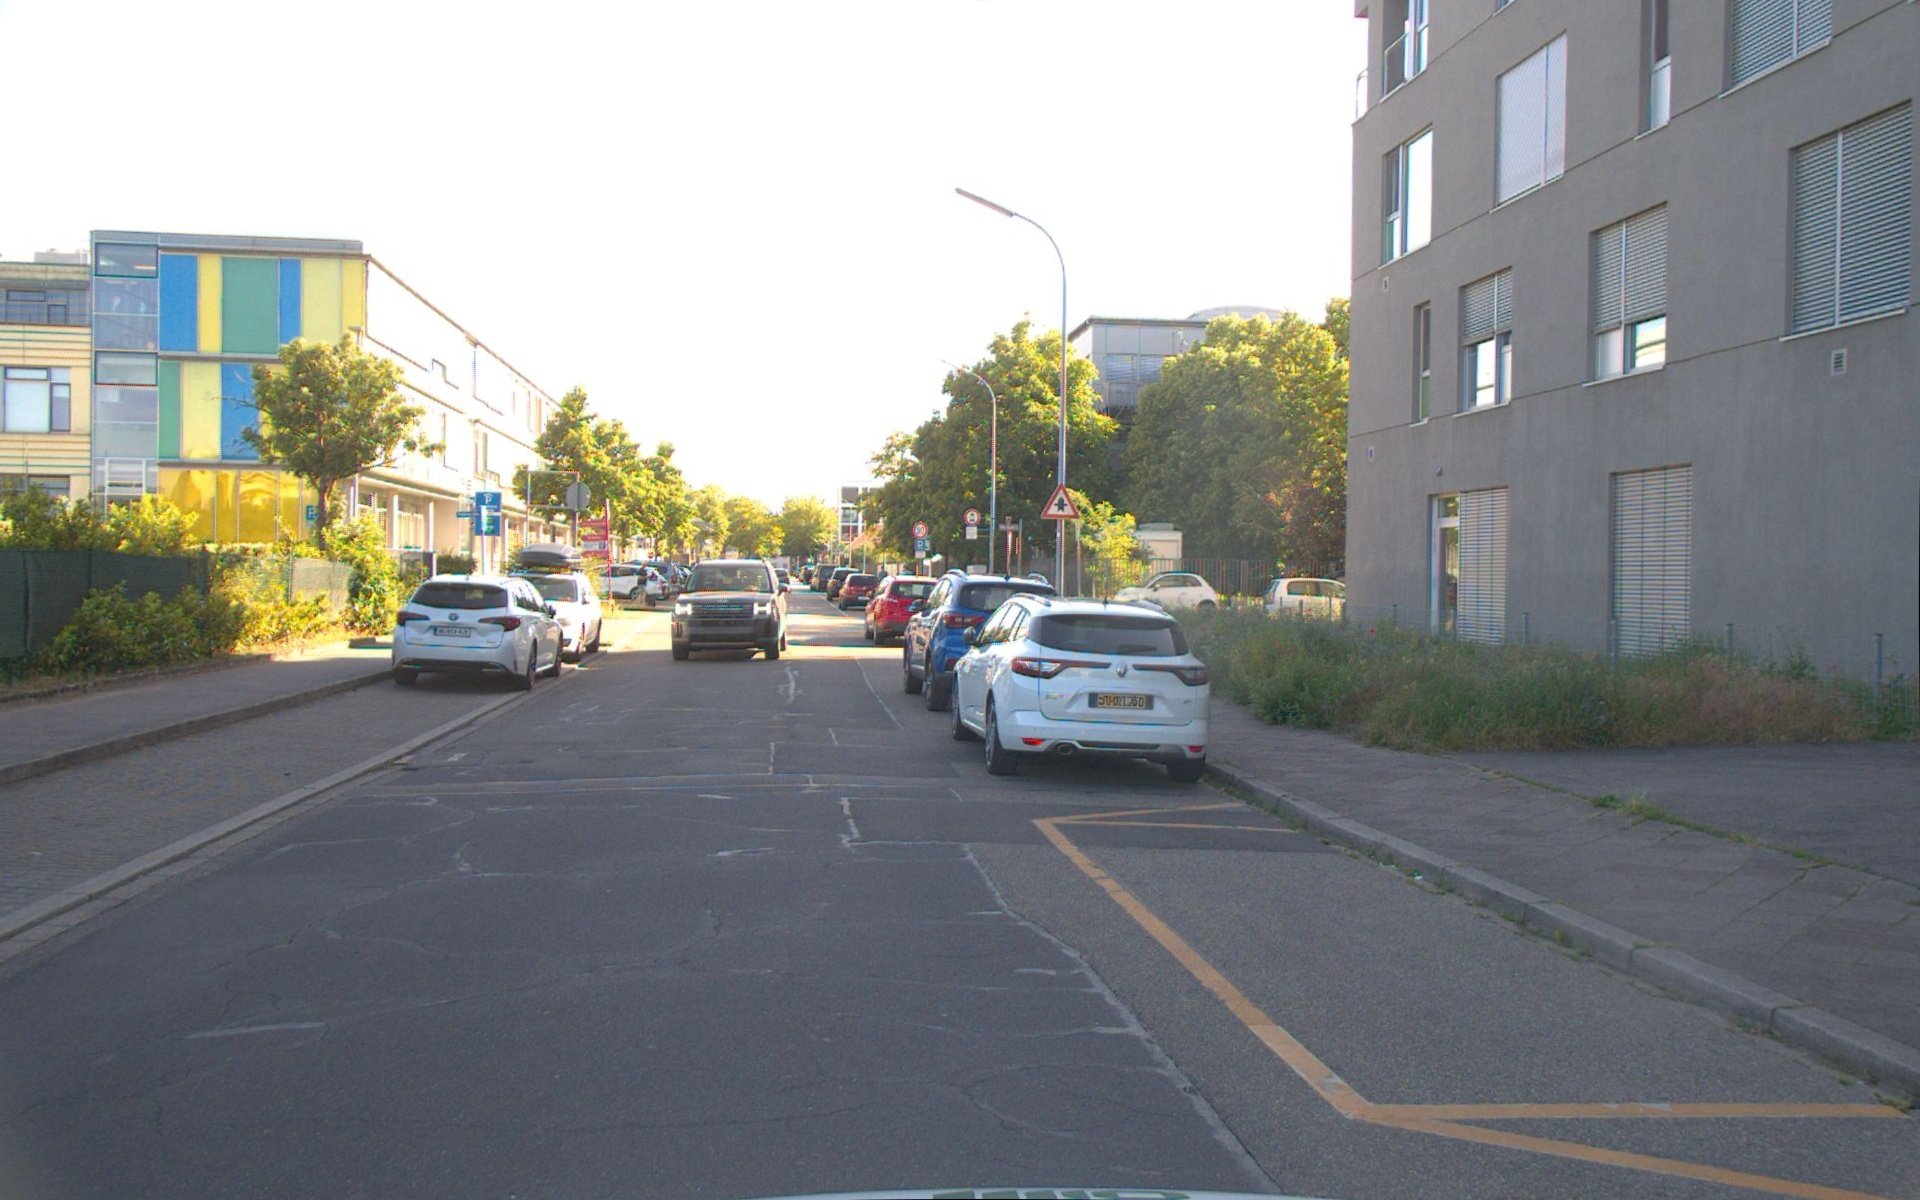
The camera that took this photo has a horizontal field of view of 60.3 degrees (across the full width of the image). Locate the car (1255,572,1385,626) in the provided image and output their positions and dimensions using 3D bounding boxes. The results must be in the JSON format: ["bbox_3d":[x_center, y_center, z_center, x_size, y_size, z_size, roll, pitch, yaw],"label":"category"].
[{"bbox_3d":[10.085,-0.041,46.478,3.259,1.483,1.714,1,1,-2],"label":"car"}]

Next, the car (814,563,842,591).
[{"bbox_3d":[-8.810,-1.541,110.127,1.699,1.862,3.900,1,1,-6],"label":"car"}]

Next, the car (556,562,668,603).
[{"bbox_3d":[-15.082,-0.761,71.866,4.520,1.680,1.866,1,0,-3],"label":"car"}]

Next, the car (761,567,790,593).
[{"bbox_3d":[-11.726,-1.297,105.450,1.709,1.570,3.996,1,1,-5],"label":"car"}]

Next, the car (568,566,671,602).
[{"bbox_3d":[-15.345,-0.717,74.649,4.349,1.527,1.825,1,1,-7],"label":"car"}]

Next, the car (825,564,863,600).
[{"bbox_3d":[-6.005,-0.939,85.363,1.777,1.695,4.588,2,2,-6],"label":"car"}]

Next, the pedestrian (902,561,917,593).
[{"bbox_3d":[-2.675,-1.222,87.699,0.685,1.690,0.751,-1,1,-7],"label":"pedestrian"}]

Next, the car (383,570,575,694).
[{"bbox_3d":[-6.518,0.359,22.861,1.713,1.471,4.536,2,1,-6],"label":"car"}]

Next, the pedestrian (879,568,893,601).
[{"bbox_3d":[-4.108,-0.853,91.458,0.704,1.788,0.884,-2,1,-6],"label":"pedestrian"}]

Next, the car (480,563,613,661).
[{"bbox_3d":[-7.246,0.159,29.367,1.663,1.539,4.511,3,1,-7],"label":"car"}]

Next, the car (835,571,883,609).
[{"bbox_3d":[-4.264,-0.450,69.443,1.687,1.480,4.645,2,1,-7],"label":"car"}]

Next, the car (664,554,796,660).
[{"bbox_3d":[-4.133,0.072,30.447,1.903,1.757,4.836,-1,1,-2],"label":"car"}]

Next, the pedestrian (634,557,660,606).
[{"bbox_3d":[-12.277,-0.745,64.879,0.841,1.874,0.825,2,1,-5],"label":"pedestrian"}]

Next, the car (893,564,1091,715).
[{"bbox_3d":[0.273,0.405,20.916,1.783,1.627,4.620,2,1,-7],"label":"car"}]

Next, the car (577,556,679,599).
[{"bbox_3d":[-16.076,-1.100,80.238,4.651,1.897,1.825,2,1,-7],"label":"car"}]

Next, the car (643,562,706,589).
[{"bbox_3d":[-19.442,-1.663,112.774,4.138,1.631,1.867,2,1,-11],"label":"car"}]

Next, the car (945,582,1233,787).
[{"bbox_3d":[0.960,0.618,14.727,1.711,1.454,4.580,2,1,-6],"label":"car"}]

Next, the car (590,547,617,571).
[{"bbox_3d":[-32.381,-3.680,150.187,1.955,2.049,3.994,1,0,-7],"label":"car"}]

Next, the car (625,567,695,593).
[{"bbox_3d":[-17.406,-1.154,95.970,3.915,1.382,1.739,2,1,-11],"label":"car"}]

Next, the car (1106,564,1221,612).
[{"bbox_3d":[6.669,-0.397,54.339,3.478,1.512,1.598,0,1,-6],"label":"car"}]

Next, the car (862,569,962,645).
[{"bbox_3d":[-1.139,0.108,37.152,1.784,1.525,4.445,2,1,-7],"label":"car"}]
